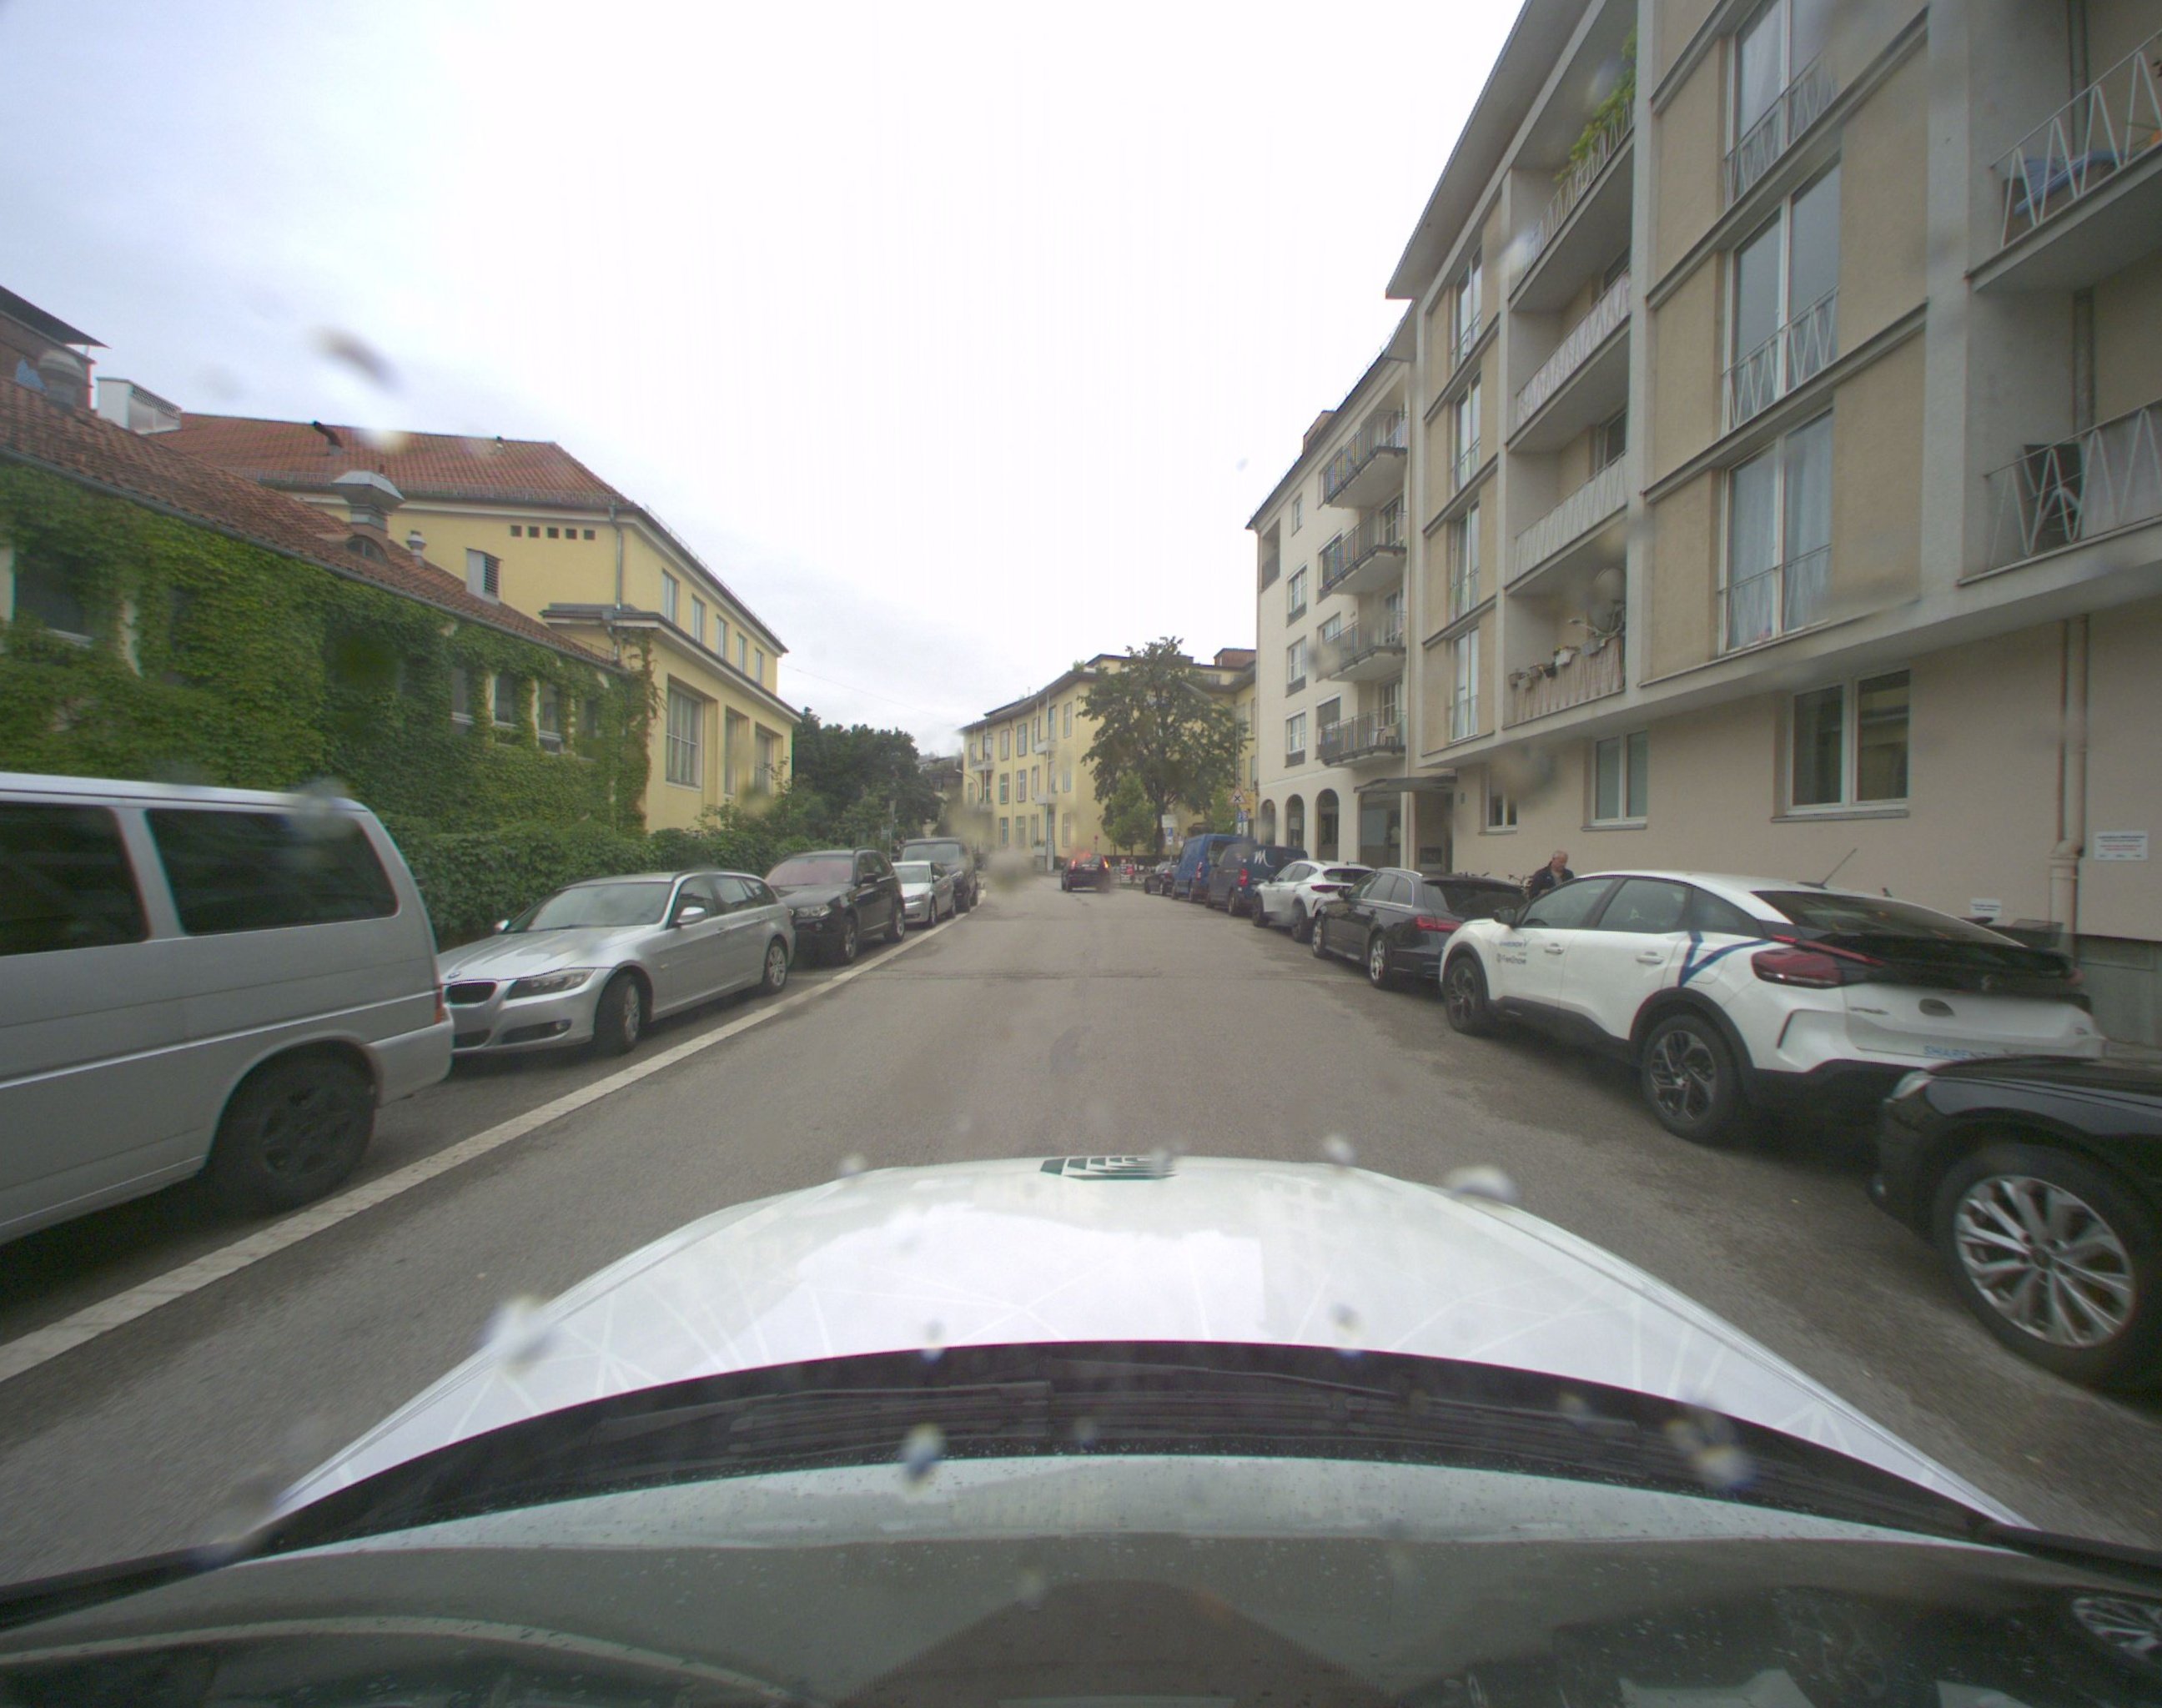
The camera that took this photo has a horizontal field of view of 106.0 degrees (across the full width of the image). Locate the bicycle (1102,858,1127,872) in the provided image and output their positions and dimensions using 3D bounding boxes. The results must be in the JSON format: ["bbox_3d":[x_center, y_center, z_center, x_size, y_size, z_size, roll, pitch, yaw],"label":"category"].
[{"bbox_3d":[2.689,0.896,65.724,2.189,1.117,0.614,1,0,44],"label":"bicycle"}]

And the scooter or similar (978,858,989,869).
[{"bbox_3d":[-9.754,0.943,81.600,0.491,1.109,1.417,0,0,23],"label":"scooter or similar"}]

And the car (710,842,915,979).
[{"bbox_3d":[-3.960,0.730,12.856,1.614,1.730,4.426,-2,0,1],"label":"car"}]

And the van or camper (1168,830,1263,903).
[{"bbox_3d":[4.463,0.380,28.017,2.056,2.231,5.431,-1,0,-3],"label":"van or camper"}]

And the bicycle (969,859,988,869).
[{"bbox_3d":[-10.417,1.023,82.844,1.835,1.005,0.572,-1,0,-33],"label":"bicycle"}]

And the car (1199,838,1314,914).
[{"bbox_3d":[4.613,0.520,22.181,1.959,1.816,4.933,-1,0,-1],"label":"car"}]

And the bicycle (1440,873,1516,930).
[{"bbox_3d":[8.556,1.006,17.601,0.536,1.133,1.394,-1,1,-34],"label":"bicycle"}]

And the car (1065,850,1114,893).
[{"bbox_3d":[0.387,0.714,35.465,1.988,1.694,4.381,-1,1,1],"label":"car"}]

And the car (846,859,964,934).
[{"bbox_3d":[-3.773,0.849,18.133,1.614,1.378,4.073,-2,0,1],"label":"car"}]

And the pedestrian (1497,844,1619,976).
[{"bbox_3d":[6.445,0.720,11.095,0.895,1.687,1.320,0,0,1],"label":"pedestrian"}]

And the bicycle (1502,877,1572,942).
[{"bbox_3d":[8.731,1.046,15.645,0.531,1.133,1.408,0,1,-1],"label":"bicycle"}]

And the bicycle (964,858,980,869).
[{"bbox_3d":[-11.383,0.949,84.975,0.570,1.085,1.945,0,0,27],"label":"bicycle"}]

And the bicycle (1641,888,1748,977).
[{"bbox_3d":[8.088,1.002,10.794,0.388,1.023,1.402,-1,0,2],"label":"bicycle"}]

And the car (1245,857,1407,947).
[{"bbox_3d":[4.693,0.844,16.283,1.735,1.537,4.268,1,0,-3],"label":"car"}]

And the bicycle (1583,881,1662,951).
[{"bbox_3d":[8.755,0.979,13.217,0.388,1.023,1.402,-1,0,2],"label":"bicycle"}]

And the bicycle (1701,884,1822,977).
[{"bbox_3d":[8.525,0.924,10.267,0.388,1.023,1.402,-1,0,2],"label":"bicycle"}]

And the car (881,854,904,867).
[{"bbox_3d":[-24.859,0.871,107.268,1.874,1.633,4.244,-1,0,-28],"label":"car"}]

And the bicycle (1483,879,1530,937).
[{"bbox_3d":[8.093,1.008,15.526,0.420,1.023,1.201,-1,0,9],"label":"bicycle"}]

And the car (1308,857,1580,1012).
[{"bbox_3d":[4.413,0.849,10.756,1.732,1.499,4.499,3,0,3],"label":"car"}]

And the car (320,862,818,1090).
[{"bbox_3d":[-4.226,0.862,7.774,1.694,1.422,4.429,-3,0,3],"label":"car"}]

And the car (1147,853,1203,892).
[{"bbox_3d":[3.894,0.738,34.388,1.700,1.518,3.954,-1,0,-3],"label":"car"}]

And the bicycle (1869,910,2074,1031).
[{"bbox_3d":[8.336,1.052,7.705,0.442,0.936,1.402,-1,0,2],"label":"bicycle"}]

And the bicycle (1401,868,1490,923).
[{"bbox_3d":[8.551,0.943,19.247,1.142,1.186,2.207,1,0,0],"label":"bicycle"}]

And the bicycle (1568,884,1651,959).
[{"bbox_3d":[7.982,0.991,12.351,0.388,1.023,1.402,-1,0,2],"label":"bicycle"}]

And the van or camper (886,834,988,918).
[{"bbox_3d":[-3.946,0.549,23.166,1.954,2.065,4.753,-2,0,0],"label":"van or camper"}]

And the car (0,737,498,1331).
[{"bbox_3d":[-4.451,0.618,2.232,1.985,1.875,4.762,-3,0,3],"label":"car"}]

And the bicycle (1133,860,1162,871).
[{"bbox_3d":[5.285,0.915,64.421,2.193,0.779,0.613,1,0,15],"label":"bicycle"}]

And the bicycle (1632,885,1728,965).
[{"bbox_3d":[8.612,0.987,11.769,0.388,1.023,1.402,-1,0,2],"label":"bicycle"}]

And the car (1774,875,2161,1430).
[{"bbox_3d":[3.759,0.869,1.121,1.790,1.420,4.483,4,0,1],"label":"car"}]

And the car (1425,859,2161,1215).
[{"bbox_3d":[4.228,0.851,5.843,1.733,1.499,4.220,3,0,1],"label":"car"}]
